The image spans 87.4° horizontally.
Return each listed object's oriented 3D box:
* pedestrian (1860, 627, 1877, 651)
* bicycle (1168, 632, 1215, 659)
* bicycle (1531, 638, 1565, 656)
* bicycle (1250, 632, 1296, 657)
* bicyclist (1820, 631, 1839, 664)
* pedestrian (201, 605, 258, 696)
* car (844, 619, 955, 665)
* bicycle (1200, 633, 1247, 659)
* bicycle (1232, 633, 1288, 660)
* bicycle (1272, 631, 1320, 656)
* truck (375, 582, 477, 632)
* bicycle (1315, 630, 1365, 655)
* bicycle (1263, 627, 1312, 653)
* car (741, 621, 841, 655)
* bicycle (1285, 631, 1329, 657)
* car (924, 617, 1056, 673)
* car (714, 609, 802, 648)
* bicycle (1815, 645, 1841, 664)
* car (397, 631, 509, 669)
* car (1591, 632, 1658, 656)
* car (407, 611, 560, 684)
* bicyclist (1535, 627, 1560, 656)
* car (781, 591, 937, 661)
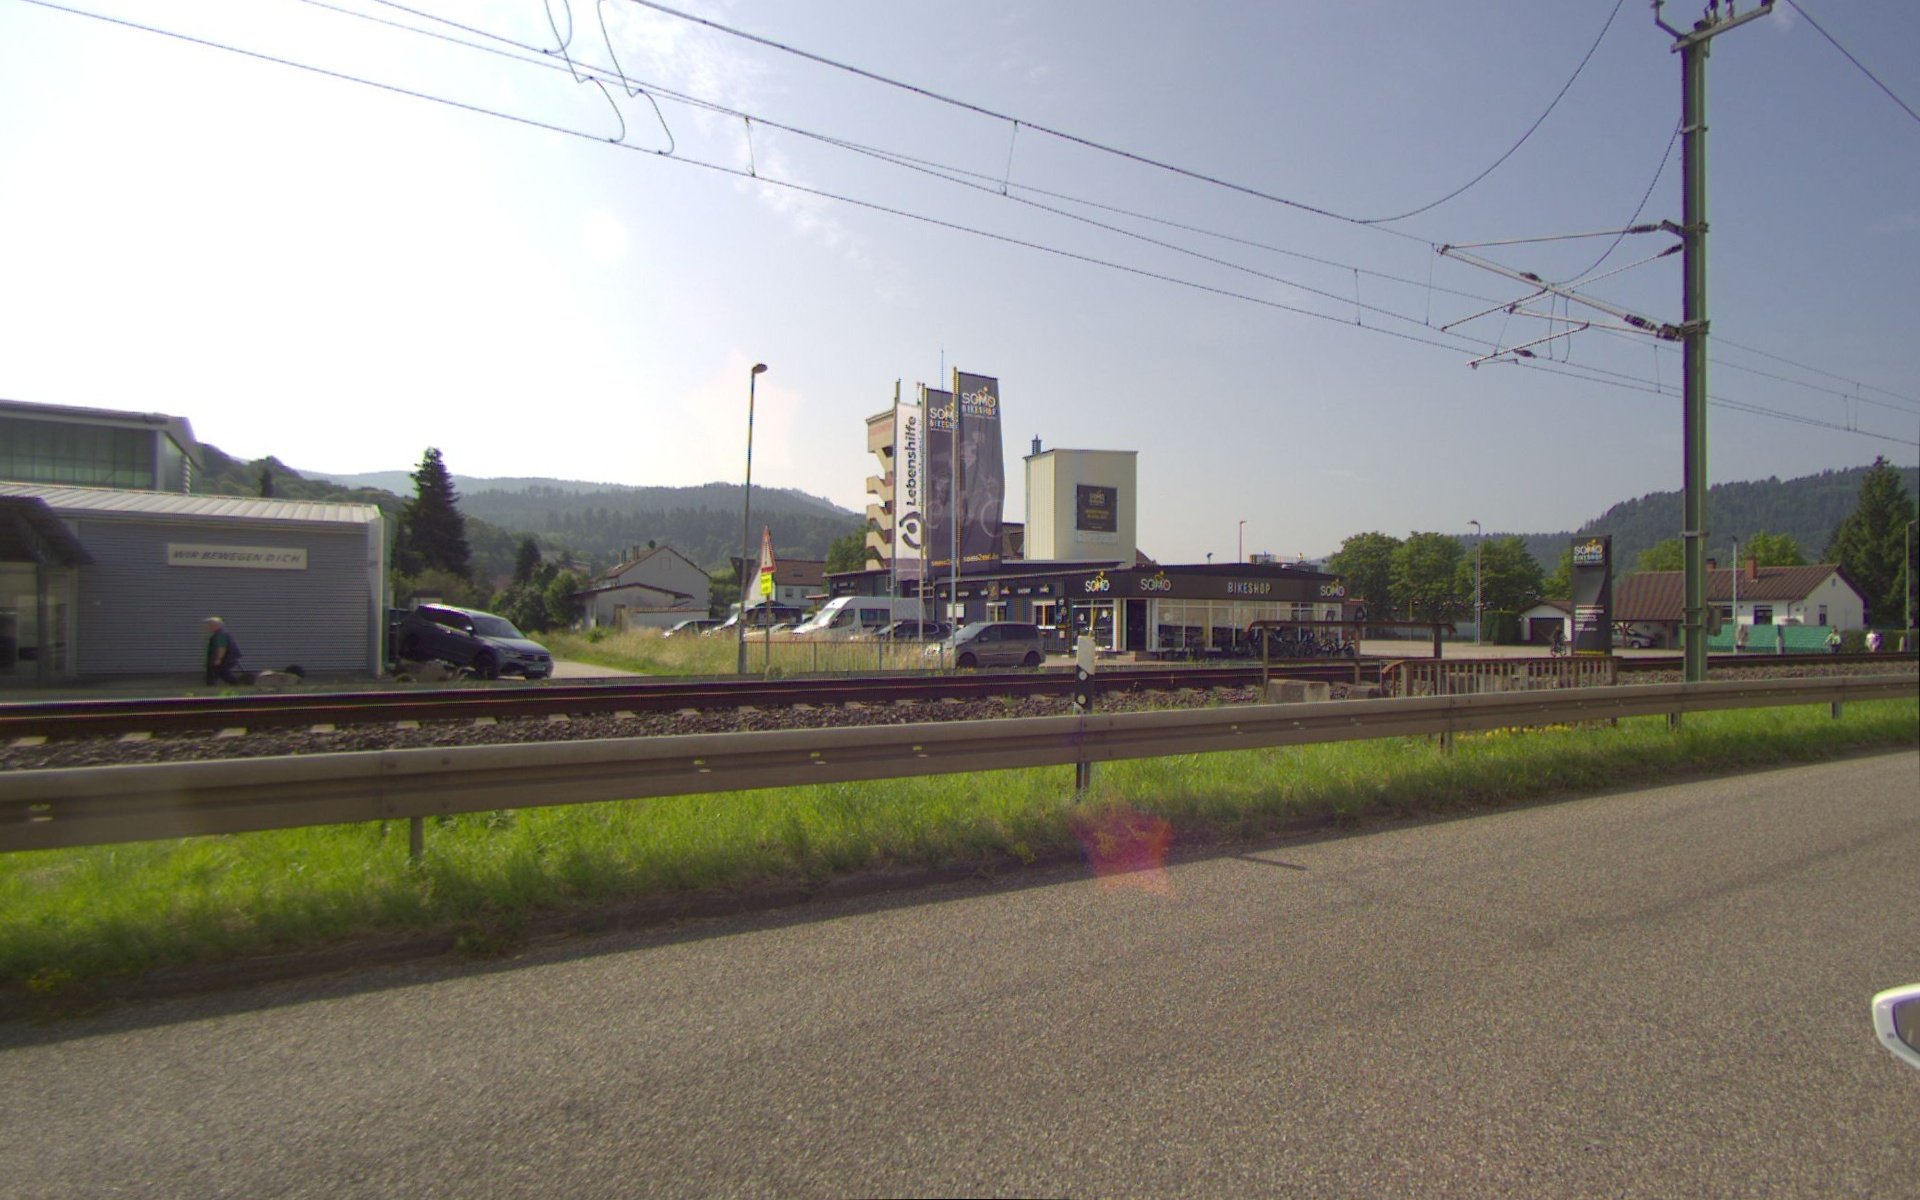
[{"bbox_3d":[51.490,2.205,56.911,0.667,1.349,0.570,1,-1,-35],"label":"pedestrian"},{"bbox_3d":[10.089,1.976,43.849,0.721,1.145,2.157,1,-2,-30],"label":"bicycle"},{"bbox_3d":[34.300,2.759,58.579,1.937,1.030,0.752,1,-2,-27],"label":"bicycle"},{"bbox_3d":[14.500,2.059,46.610,0.721,1.145,2.157,1,-2,-30],"label":"bicycle"},{"bbox_3d":[44.464,2.420,51.361,0.822,1.668,0.529,1,-1,-32],"label":"bicyclist"},{"bbox_3d":[-14.471,0.990,19.913,0.826,1.757,0.797,1,-1,-32],"label":"pedestrian"},{"bbox_3d":[-2.364,1.671,39.492,3.958,1.685,1.857,3,-2,-33],"label":"car"},{"bbox_3d":[11.962,2.098,45.539,2.147,1.145,0.725,2,-2,-29],"label":"bicycle"},{"bbox_3d":[13.153,2.015,44.105,2.275,1.145,0.730,1,-1,4],"label":"bicycle"},{"bbox_3d":[15.947,2.063,47.713,0.724,1.145,2.150,2,-2,-39],"label":"bicycle"},{"bbox_3d":[-28.625,0.433,53.908,4.595,2.456,1.981,3,-3,-34],"label":"truck"},{"bbox_3d":[18.092,2.032,47.853,0.724,1.145,2.150,2,-2,-39],"label":"bicycle"},{"bbox_3d":[15.358,1.875,47.181,0.724,1.145,2.150,2,-2,-39],"label":"bicycle"},{"bbox_3d":[-8.703,1.959,51.880,4.707,1.664,1.984,2,-2,-30],"label":"car"},{"bbox_3d":[15.752,2.007,45.584,2.150,1.145,0.724,2,-2,-32],"label":"bicycle"},{"bbox_3d":[1.039,1.492,33.583,4.325,1.711,1.509,2,0,-34],"label":"car"},{"bbox_3d":[-11.943,1.719,59.481,4.707,2.241,1.984,2,-2,-30],"label":"car"},{"bbox_3d":[44.280,2.778,51.238,1.691,0.935,0.542,1,-2,-32],"label":"bicycle"},{"bbox_3d":[-18.651,1.816,37.002,3.456,1.285,1.441,1,-1,-39],"label":"car"},{"bbox_3d":[49.172,3.228,74.388,1.690,1.673,3.822,1,-2,-27],"label":"car"},{"bbox_3d":[-12.954,1.248,27.292,3.924,1.550,1.522,5,1,25],"label":"car"},{"bbox_3d":[34.262,2.403,58.564,1.131,1.641,0.743,1,-1,-27],"label":"bicyclist"},{"bbox_3d":[-4.200,1.143,42.206,6.095,2.667,2.359,3,-3,-33],"label":"car"}]
